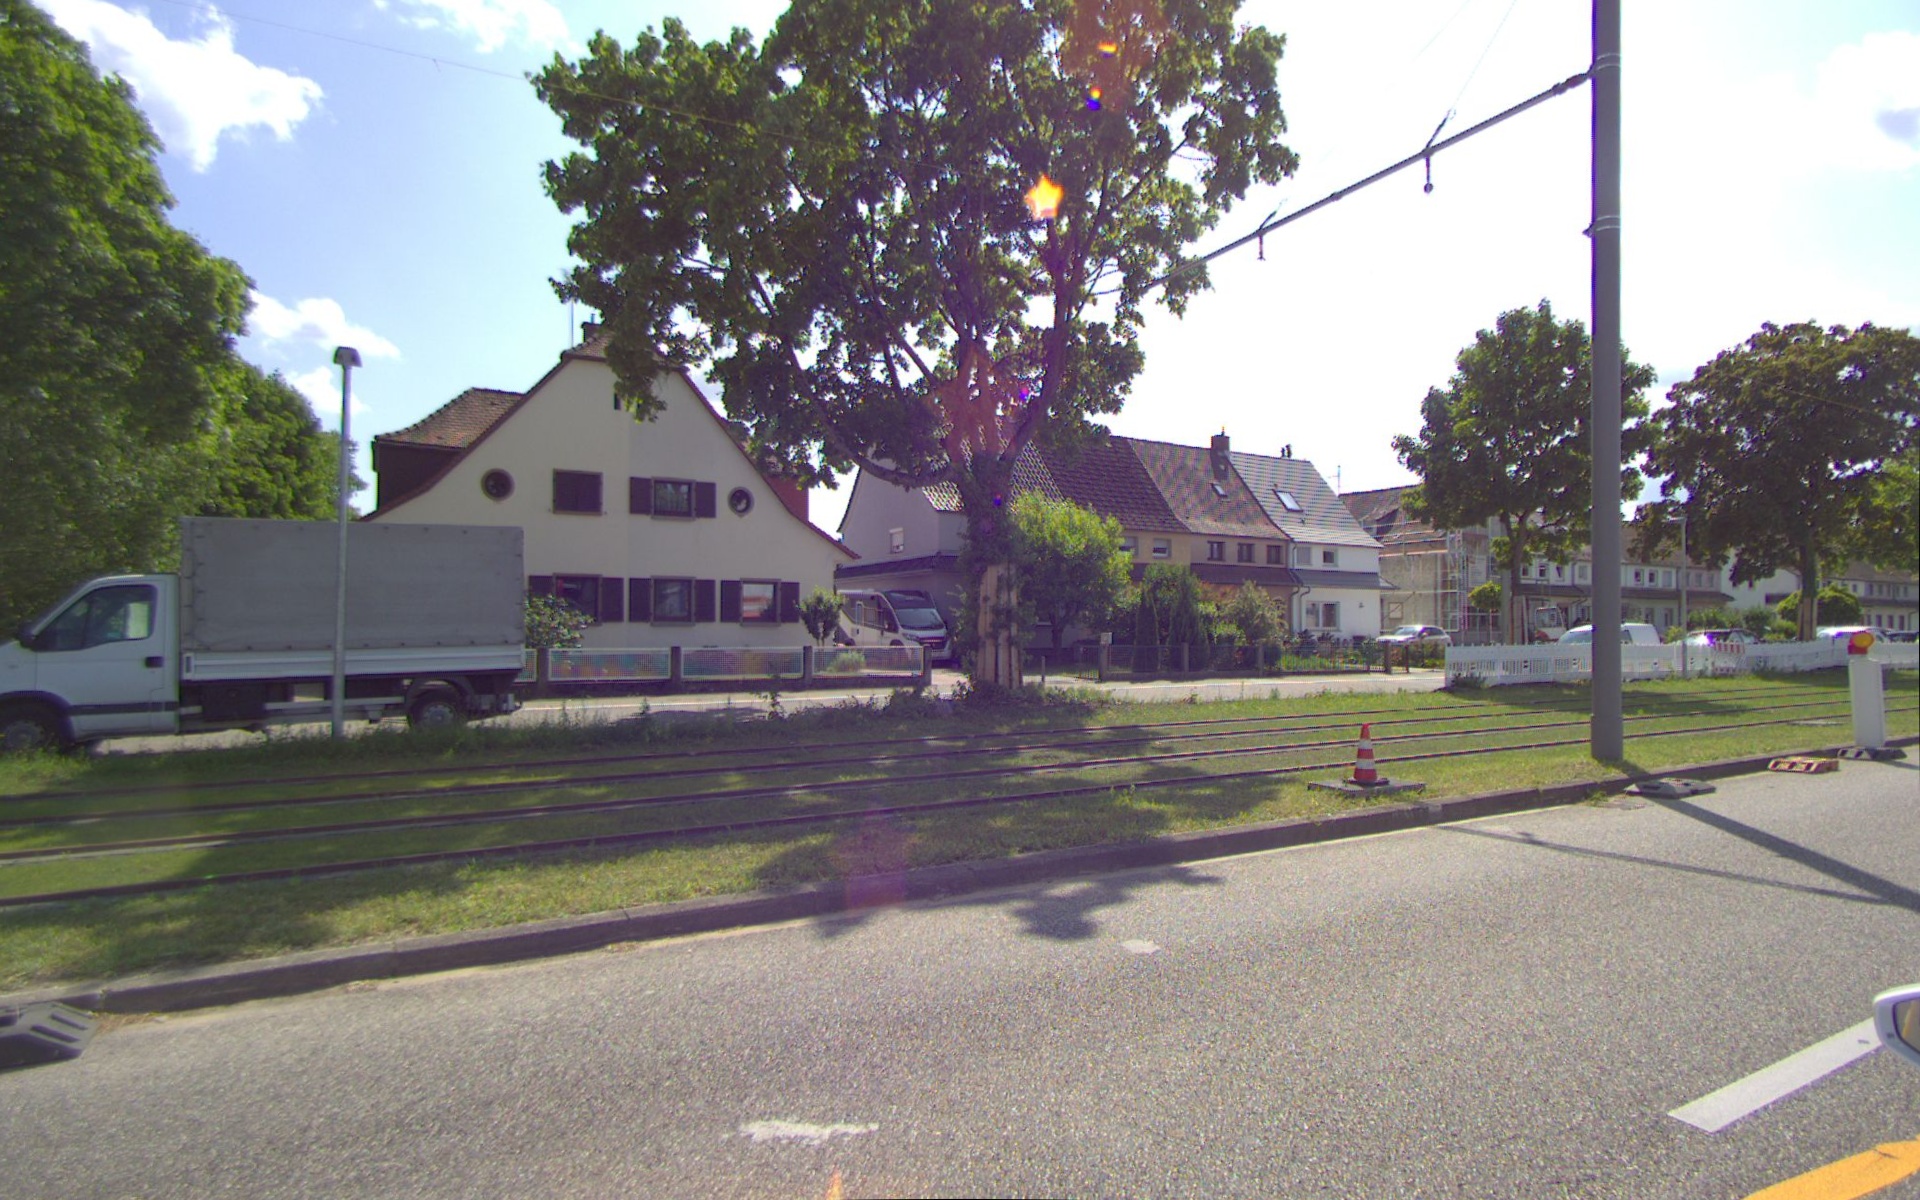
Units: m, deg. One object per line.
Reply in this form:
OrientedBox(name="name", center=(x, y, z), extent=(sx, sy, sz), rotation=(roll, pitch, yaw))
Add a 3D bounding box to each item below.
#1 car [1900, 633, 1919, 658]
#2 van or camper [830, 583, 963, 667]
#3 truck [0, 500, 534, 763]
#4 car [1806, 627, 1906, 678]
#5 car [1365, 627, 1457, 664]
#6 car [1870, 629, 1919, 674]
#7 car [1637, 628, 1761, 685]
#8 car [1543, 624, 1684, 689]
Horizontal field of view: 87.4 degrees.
OrientedBox(name="car", center=(70.037, 3.304, 72.741), extent=(4.079, 1.745, 1.768), rotation=(1, -2, -30))
OrientedBox(name="van or camper", center=(-2.439, 0.935, 36.607), extent=(2.269, 2.801, 6.051), rotation=(1, -2, -32))
OrientedBox(name="truck", center=(-8.832, 0.401, 12.971), extent=(5.906, 2.817, 2.255), rotation=(1, -2, -31))
OrientedBox(name="car", center=(35.366, 2.030, 39.637), extent=(4.079, 1.892, 1.768), rotation=(1, -2, -30))
OrientedBox(name="car", center=(19.994, 1.989, 44.493), extent=(3.952, 1.539, 1.768), rotation=(1, -2, -30))
OrientedBox(name="car", center=(40.650, 2.164, 42.693), extent=(4.079, 1.829, 1.768), rotation=(1, -2, -30))
OrientedBox(name="car", center=(24.294, 1.809, 32.999), extent=(4.177, 1.797, 1.768), rotation=(1, -2, -30))
OrientedBox(name="car", center=(19.562, 1.643, 30.045), extent=(4.312, 1.845, 1.768), rotation=(1, -2, -30))
